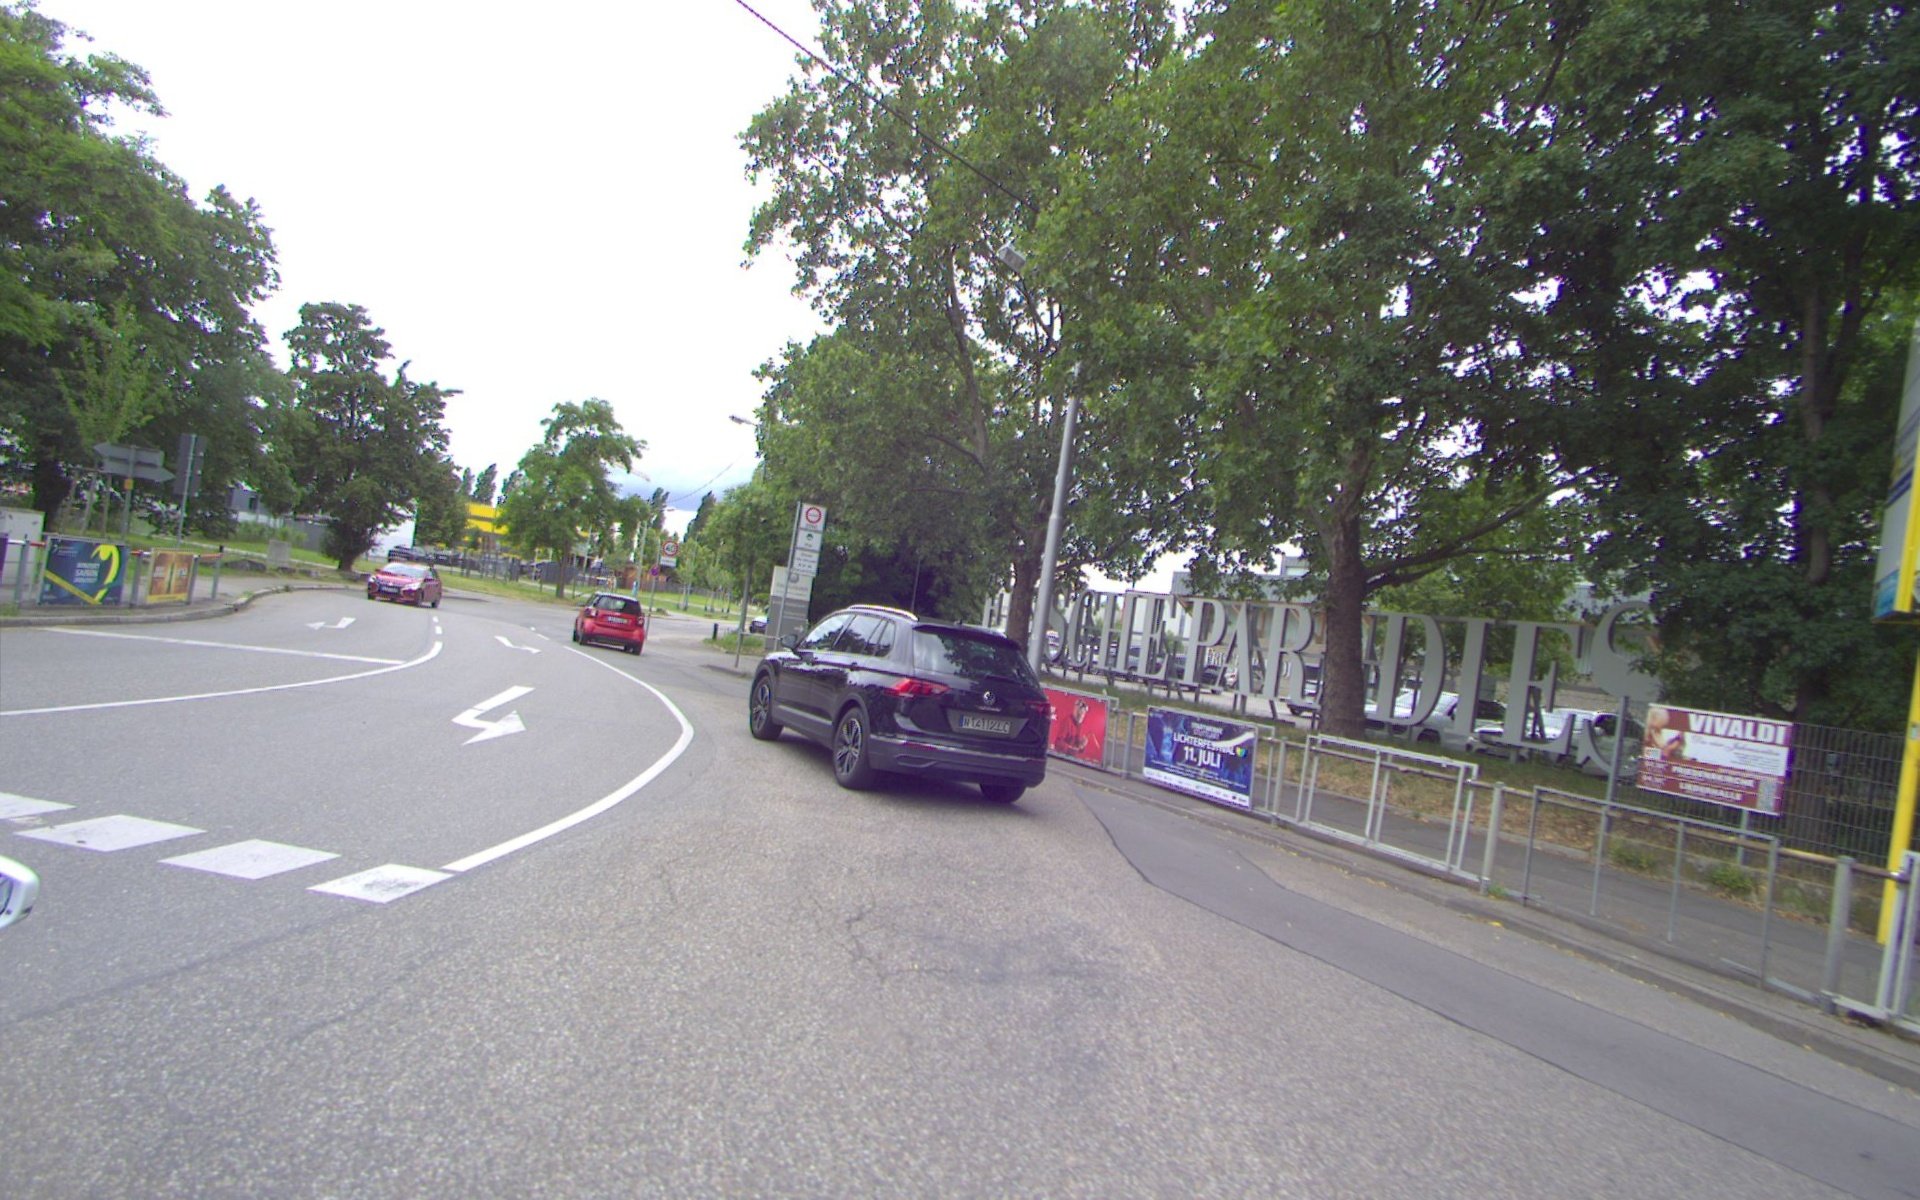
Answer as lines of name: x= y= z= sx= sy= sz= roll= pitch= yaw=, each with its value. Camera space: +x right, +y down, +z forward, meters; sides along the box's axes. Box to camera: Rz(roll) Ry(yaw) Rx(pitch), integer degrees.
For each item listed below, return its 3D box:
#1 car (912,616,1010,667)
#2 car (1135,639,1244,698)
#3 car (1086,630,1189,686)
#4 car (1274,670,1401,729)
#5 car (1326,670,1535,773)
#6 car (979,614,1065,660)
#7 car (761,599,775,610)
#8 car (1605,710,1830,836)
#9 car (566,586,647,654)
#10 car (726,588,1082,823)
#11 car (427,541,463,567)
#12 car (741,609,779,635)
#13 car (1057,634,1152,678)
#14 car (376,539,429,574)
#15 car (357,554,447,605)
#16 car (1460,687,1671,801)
car: x=0.043 y=1.719 z=41.718 sx=3.695 sy=1.522 sz=1.469 roll=10 pitch=-1 yaw=-32
car: x=10.710 y=3.193 z=46.870 sx=4.591 sy=2.037 sz=1.986 roll=10 pitch=-1 yaw=-28
car: x=8.837 y=2.872 z=49.952 sx=4.591 sy=2.037 sz=1.986 roll=10 pitch=-1 yaw=-28
car: x=14.691 y=3.870 z=39.097 sx=4.591 sy=1.579 sz=1.986 roll=10 pitch=-1 yaw=-28
car: x=10.904 y=2.821 z=23.273 sx=4.476 sy=1.631 sz=1.872 roll=10 pitch=-2 yaw=-27
car: x=3.814 y=2.277 z=61.832 sx=4.772 sy=2.037 sz=1.986 roll=10 pitch=-1 yaw=-28
car: x=-31.525 y=0.802 z=165.169 sx=2.015 sy=1.555 sz=3.931 roll=6 pitch=0 yaw=-14
car: x=13.400 y=3.068 z=17.747 sx=3.959 sy=1.631 sz=1.580 roll=10 pitch=-2 yaw=-29
car: x=-9.957 y=0.539 z=28.223 sx=1.697 sy=1.482 sz=3.001 roll=9 pitch=-1 yaw=-25
car: x=-0.816 y=0.903 z=10.206 sx=1.831 sy=1.653 sz=4.157 roll=11 pitch=-3 yaw=-28
car: x=-51.591 y=-4.574 z=100.935 sx=1.940 sy=2.036 sz=4.210 roll=10 pitch=-2 yaw=-12
car: x=-14.169 y=1.585 z=71.451 sx=1.685 sy=1.506 sz=3.375 roll=9 pitch=-2 yaw=4
car: x=7.632 y=2.987 z=53.102 sx=4.591 sy=1.576 sz=1.986 roll=10 pitch=-1 yaw=-28
car: x=-40.021 y=-3.100 z=72.341 sx=1.940 sy=2.036 sz=4.210 roll=10 pitch=-2 yaw=-12
car: x=-19.604 y=-0.683 z=35.500 sx=1.706 sy=1.483 sz=3.825 roll=8 pitch=-1 yaw=-14
car: x=12.156 y=2.897 z=20.124 sx=4.273 sy=1.631 sz=1.580 roll=10 pitch=-2 yaw=-29
